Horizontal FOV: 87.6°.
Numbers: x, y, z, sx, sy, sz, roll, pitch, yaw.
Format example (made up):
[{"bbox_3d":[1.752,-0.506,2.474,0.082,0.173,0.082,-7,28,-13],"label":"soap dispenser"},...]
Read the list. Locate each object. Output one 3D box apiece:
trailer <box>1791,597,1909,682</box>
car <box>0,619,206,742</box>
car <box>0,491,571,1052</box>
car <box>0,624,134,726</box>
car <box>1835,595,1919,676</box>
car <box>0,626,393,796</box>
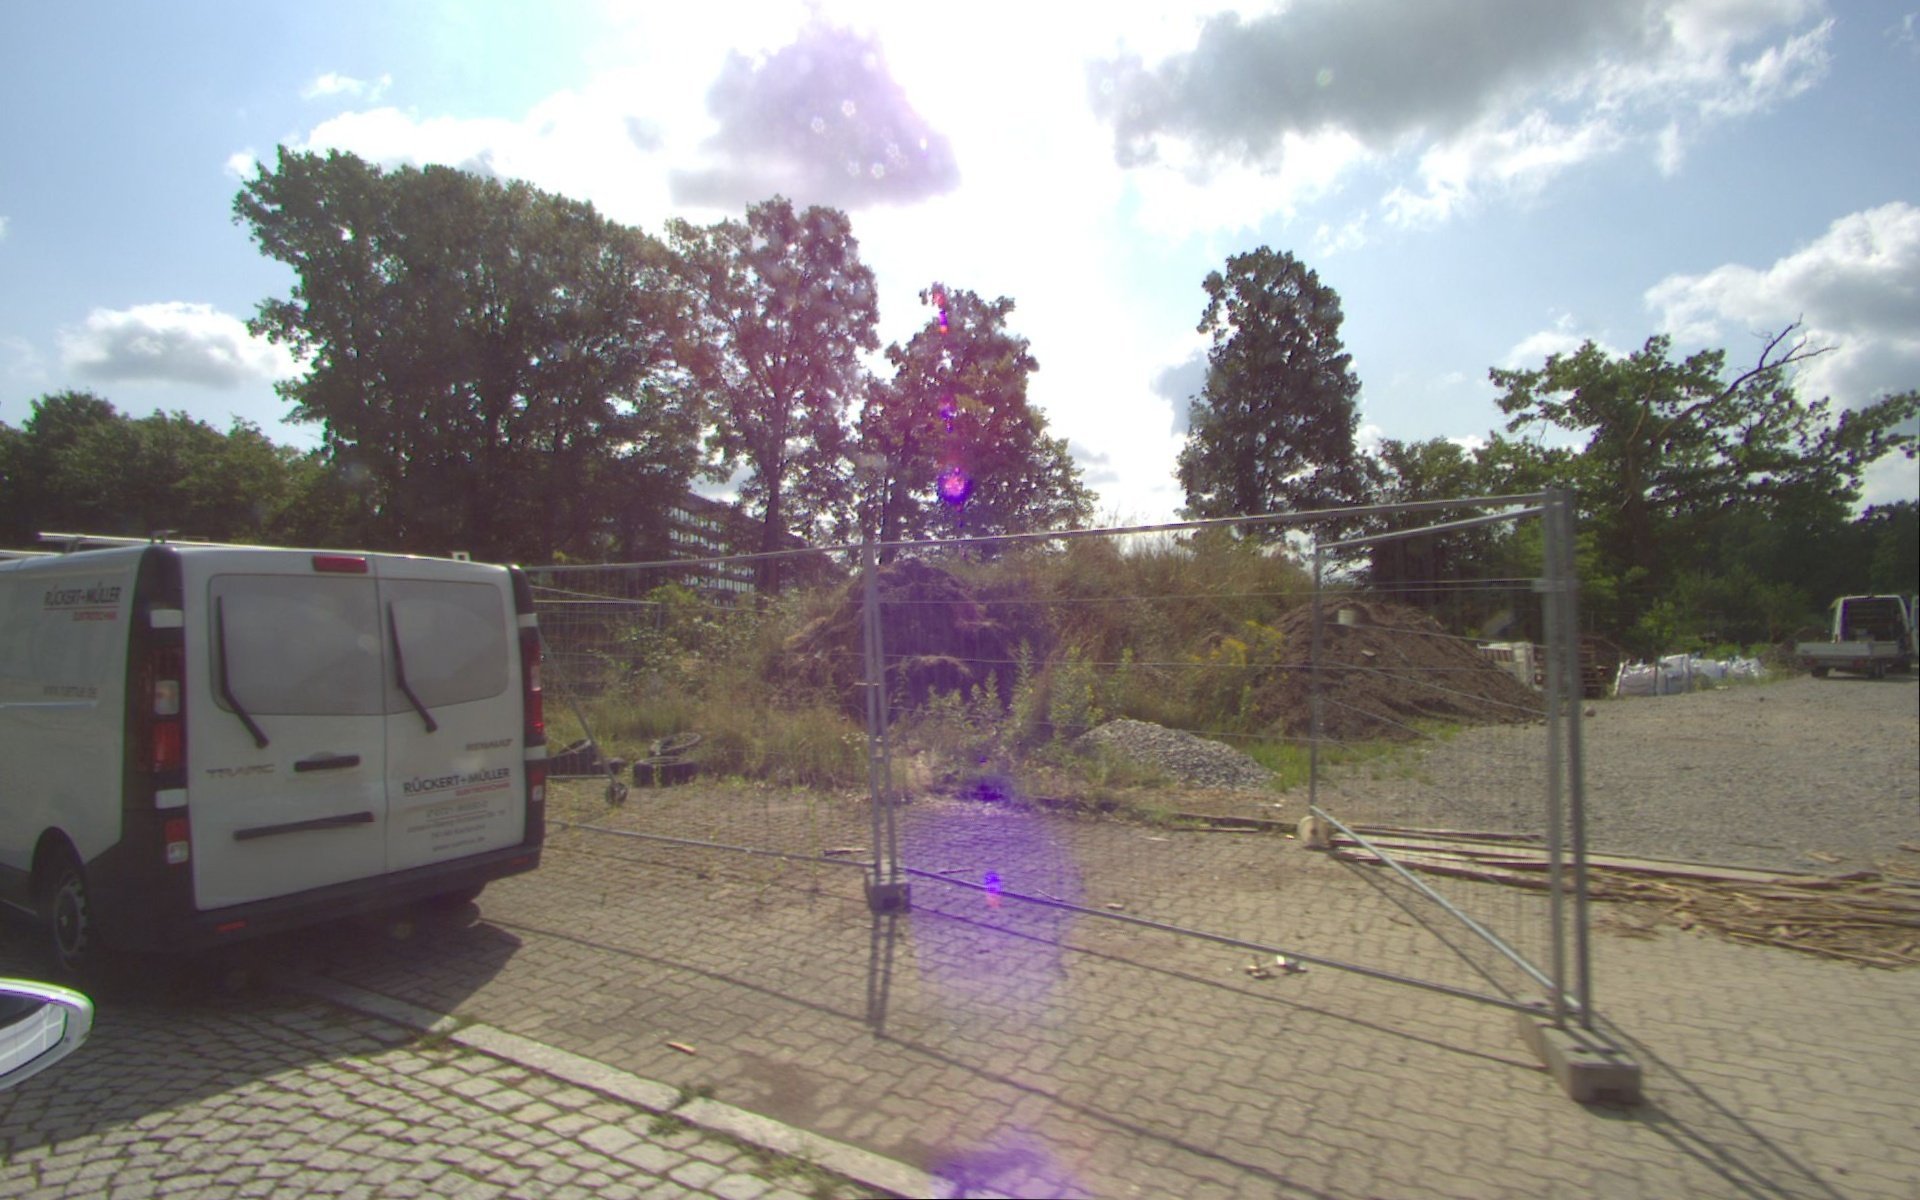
[{"bbox_3d":[28.285,1.233,31.781,4.787,2.504,1.947,1,-1,-38],"label":"trailer"},{"bbox_3d":[-12.704,1.043,13.261,1.719,1.526,3.983,-1,0,28],"label":"car"},{"bbox_3d":[-4.942,0.705,6.021,5.597,2.080,1.911,-1,-1,32],"label":"car"},{"bbox_3d":[-15.239,1.146,15.041,1.678,1.483,4.039,-1,0,28],"label":"car"},{"bbox_3d":[32.347,1.219,35.098,2.220,2.624,5.400,-1,-2,38],"label":"car"},{"bbox_3d":[-8.918,1.081,11.041,1.718,1.494,4.452,-1,0,26],"label":"car"}]
